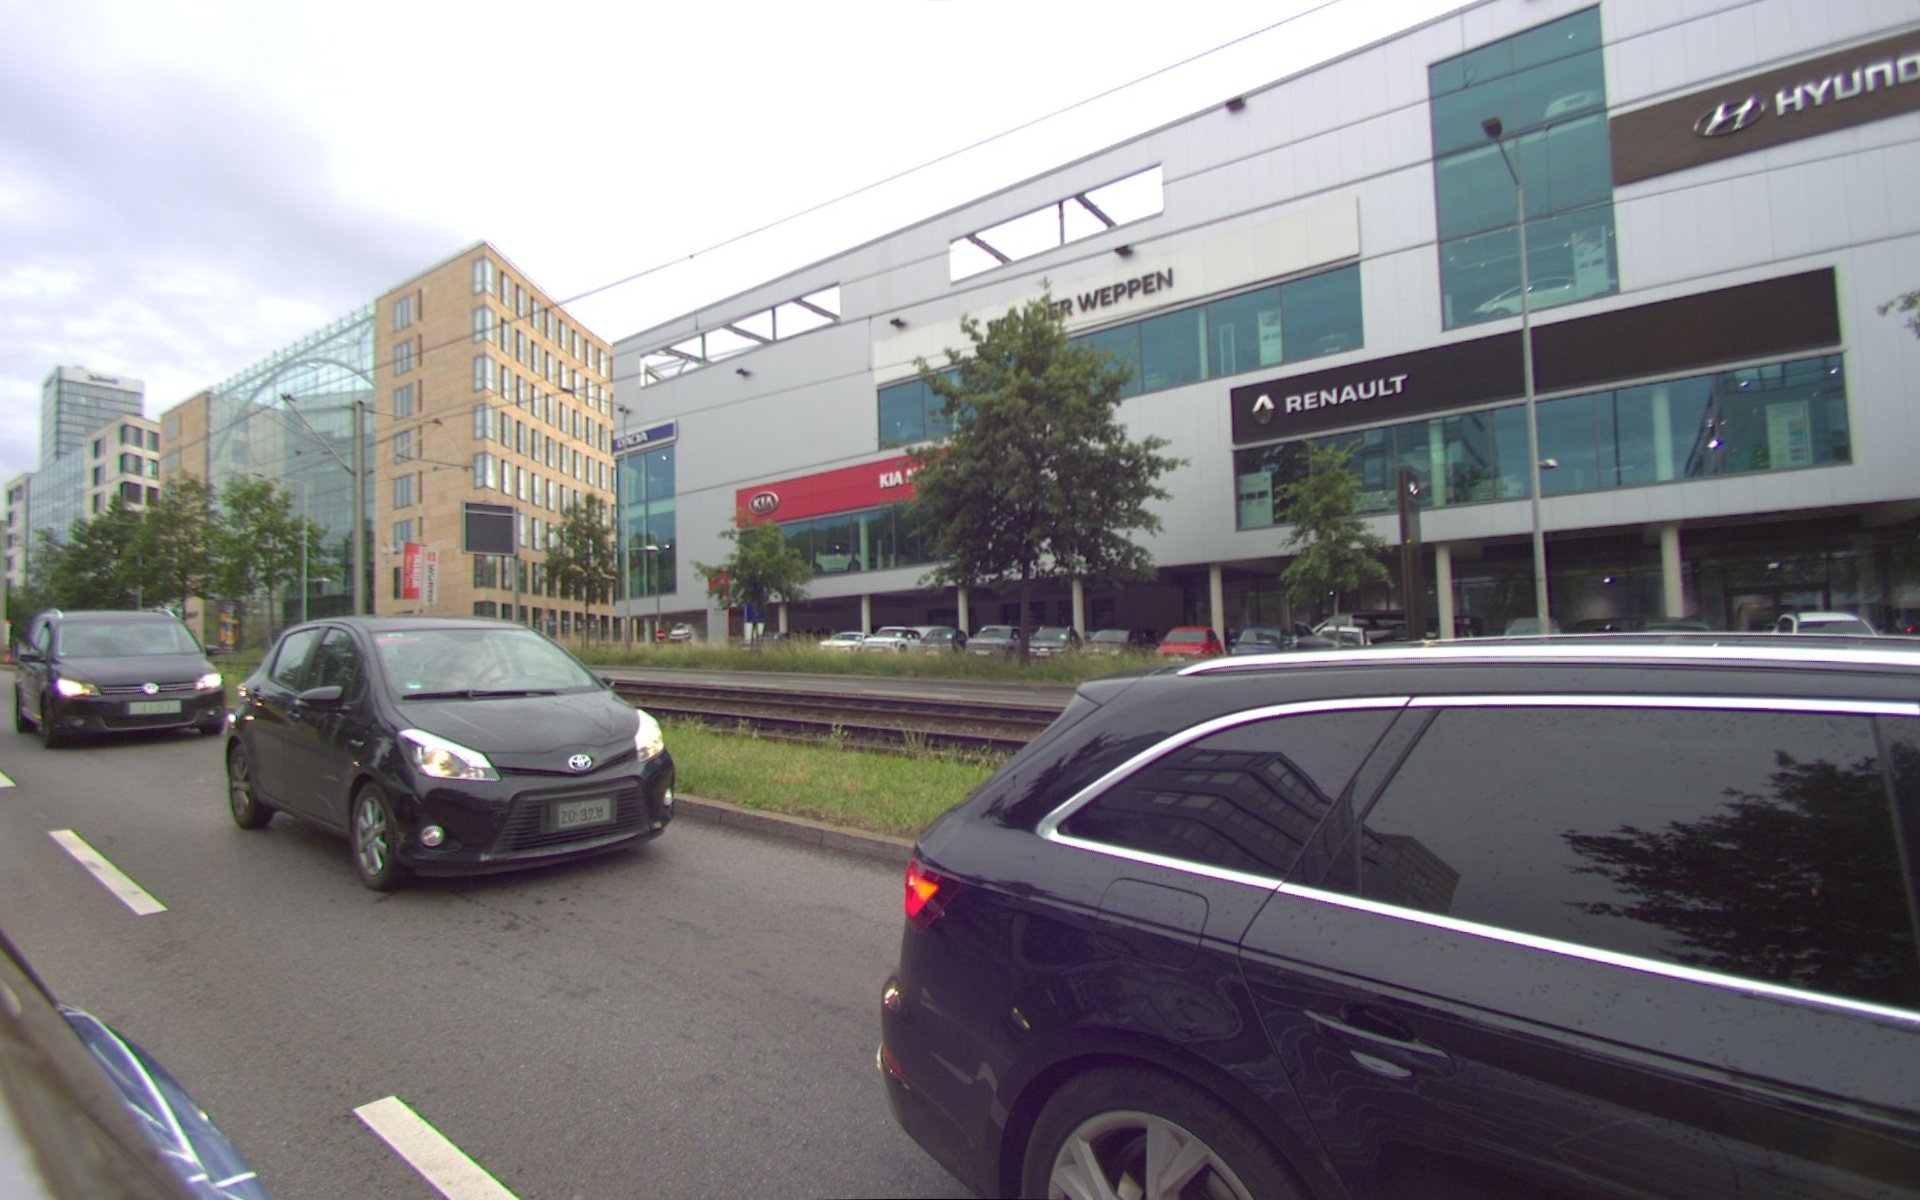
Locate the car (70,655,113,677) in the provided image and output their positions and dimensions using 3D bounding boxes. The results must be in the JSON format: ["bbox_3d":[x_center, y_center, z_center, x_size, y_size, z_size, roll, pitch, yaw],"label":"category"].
[{"bbox_3d":[-68.483,5.208,79.753,4.091,1.593,1.669,-2,-1,36],"label":"car"}]

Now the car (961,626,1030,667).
[{"bbox_3d":[1.436,1.799,39.690,1.686,1.362,3.503,-2,1,20],"label":"car"}]

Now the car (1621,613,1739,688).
[{"bbox_3d":[18.062,1.203,25.581,1.992,1.562,4.331,-1,1,30],"label":"car"}]

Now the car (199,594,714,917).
[{"bbox_3d":[-3.493,0.784,6.726,3.823,1.544,1.683,-1,-1,40],"label":"car"}]

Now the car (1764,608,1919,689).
[{"bbox_3d":[20.601,1.056,23.806,1.992,1.562,4.331,-1,1,30],"label":"car"}]

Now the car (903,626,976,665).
[{"bbox_3d":[-0.782,1.820,41.028,1.688,1.362,3.499,-2,1,23],"label":"car"}]

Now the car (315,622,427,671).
[{"bbox_3d":[-22.245,1.752,38.181,4.834,1.733,1.974,-2,-4,38],"label":"car"}]

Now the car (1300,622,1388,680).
[{"bbox_3d":[11.956,1.523,31.342,1.914,1.470,4.005,-1,1,30],"label":"car"}]

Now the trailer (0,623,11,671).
[{"bbox_3d":[-92.456,4.349,94.643,13.260,4.363,3.104,-2,-4,38],"label":"trailer"}]

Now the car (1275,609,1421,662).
[{"bbox_3d":[13.901,1.261,36.499,4.488,1.796,1.997,-1,-1,5],"label":"car"}]

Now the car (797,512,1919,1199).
[{"bbox_3d":[1.902,0.640,1.493,4.511,1.478,1.762,-2,-2,41],"label":"car"}]

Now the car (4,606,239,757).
[{"bbox_3d":[-10.953,0.931,13.110,4.317,1.619,1.763,-2,0,43],"label":"car"}]

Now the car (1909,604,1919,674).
[{"bbox_3d":[22.839,0.956,22.184,1.992,1.627,4.331,-1,1,30],"label":"car"}]

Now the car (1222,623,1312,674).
[{"bbox_3d":[10.082,1.547,33.039,1.914,1.362,4.005,-1,1,30],"label":"car"}]

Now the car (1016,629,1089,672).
[{"bbox_3d":[3.504,1.844,37.780,1.688,1.362,3.498,-2,1,24],"label":"car"}]

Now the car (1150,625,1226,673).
[{"bbox_3d":[7.819,1.622,34.442,1.789,1.362,3.903,-2,1,24],"label":"car"}]

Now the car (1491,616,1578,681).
[{"bbox_3d":[15.863,1.279,27.967,1.925,1.470,3.981,-1,1,30],"label":"car"}]

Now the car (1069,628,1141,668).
[{"bbox_3d":[5.252,1.692,36.320,1.688,1.190,3.498,-2,1,24],"label":"car"}]

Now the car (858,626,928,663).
[{"bbox_3d":[-2.789,1.876,42.959,1.685,1.304,3.643,-2,1,18],"label":"car"}]

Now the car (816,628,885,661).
[{"bbox_3d":[-4.779,1.946,44.635,1.685,1.196,3.643,-2,1,18],"label":"car"}]
